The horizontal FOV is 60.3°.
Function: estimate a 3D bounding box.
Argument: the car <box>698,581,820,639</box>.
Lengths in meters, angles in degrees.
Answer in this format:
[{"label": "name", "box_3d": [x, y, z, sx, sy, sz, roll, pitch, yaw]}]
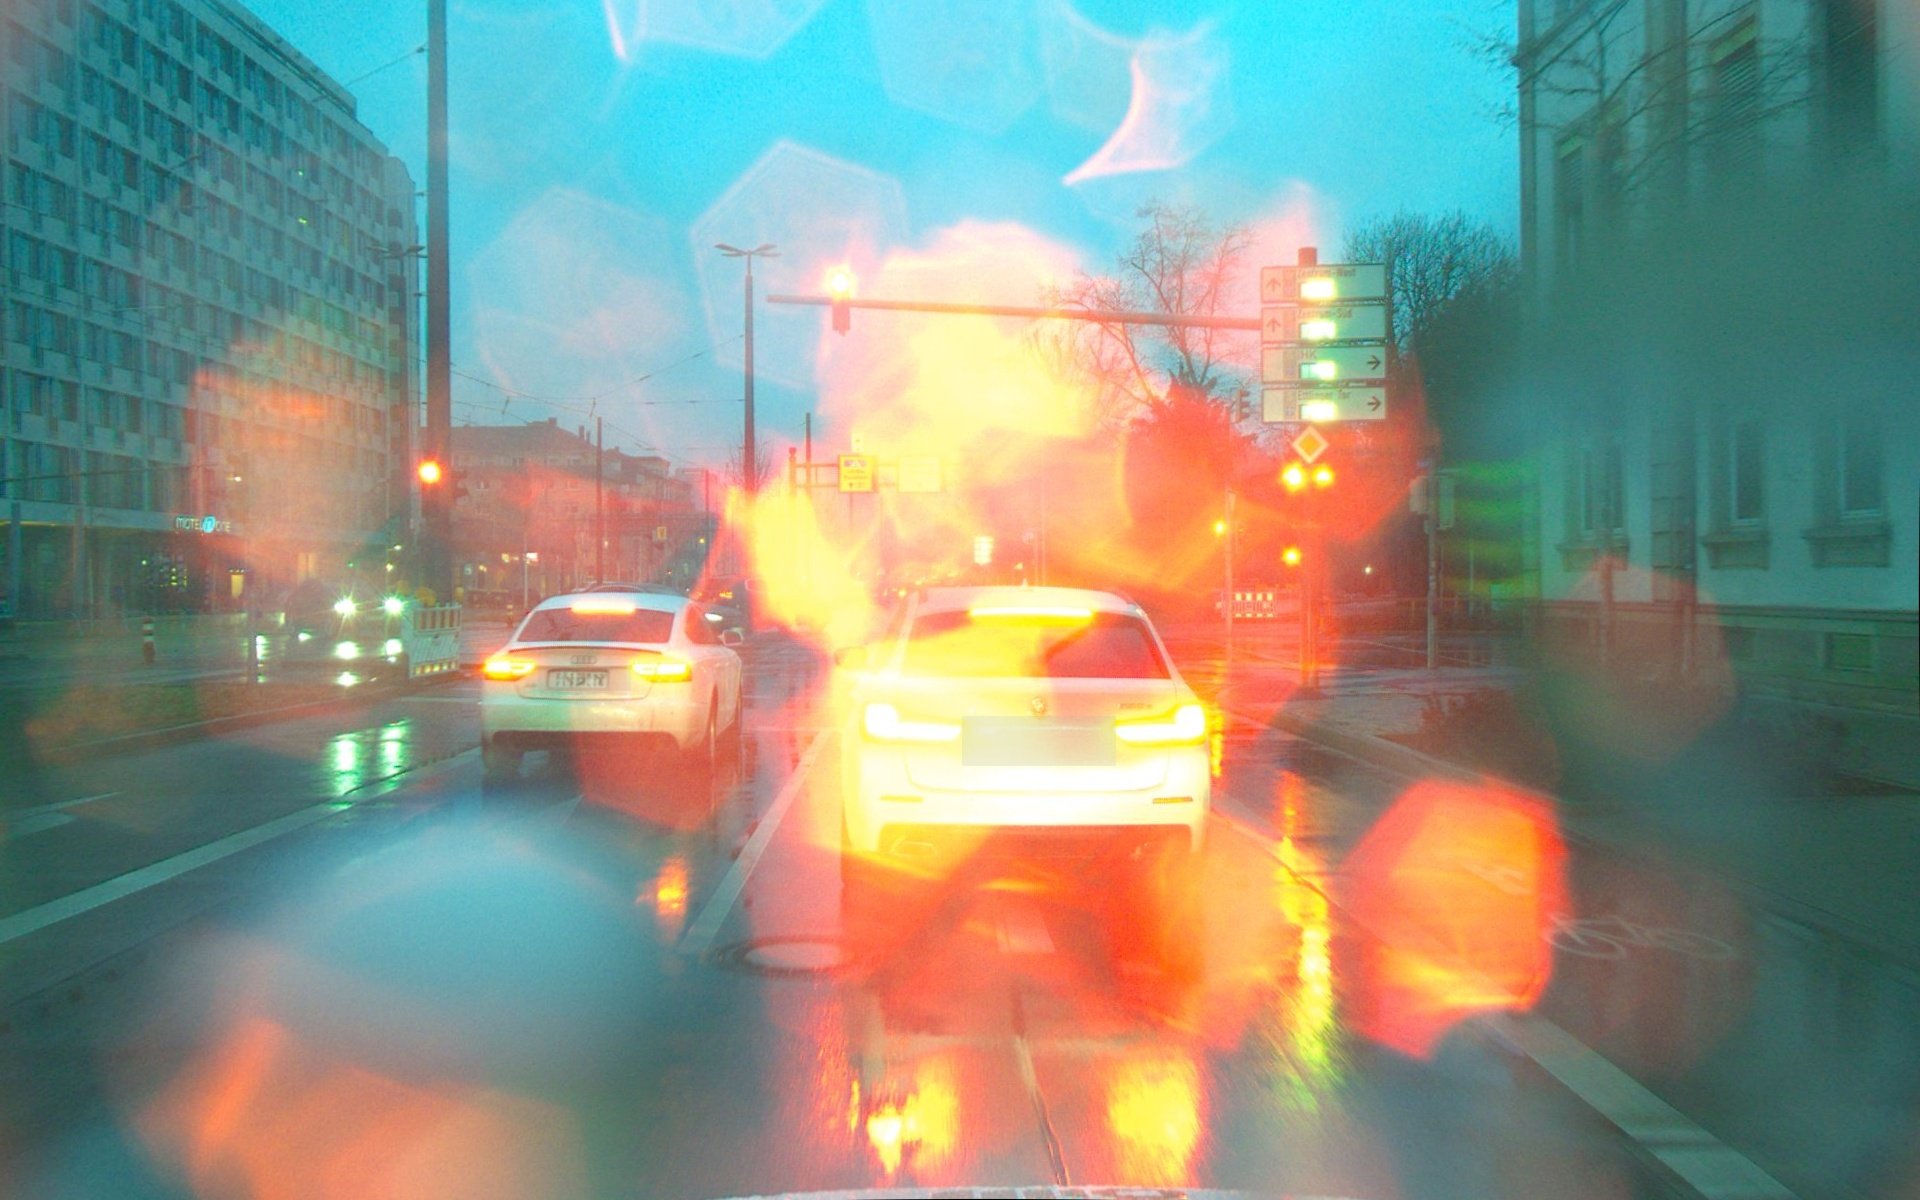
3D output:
[{"label": "car", "box_3d": [-5.975, 0.305, 49.658, 1.807, 1.637, 3.941, 1, 0, 26]}]

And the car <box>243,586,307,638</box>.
[{"label": "car", "box_3d": [-21.909, 0.367, 52.801, 1.734, 1.557, 4.293, 1, 0, -24]}]

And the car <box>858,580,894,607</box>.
[{"label": "car", "box_3d": [-4.761, -0.402, 93.715, 1.954, 1.481, 4.366, 0, 1, -3]}]

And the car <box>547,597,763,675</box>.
[{"label": "car", "box_3d": [-7.079, 0.818, 38.514, 4.596, 1.750, 1.870, 0, -1, 14]}]

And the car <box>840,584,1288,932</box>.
[{"label": "car", "box_3d": [0.344, 0.656, 9.351, 1.954, 1.481, 4.366, 0, 1, -3]}]

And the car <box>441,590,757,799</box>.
[{"label": "car", "box_3d": [-2.883, 0.671, 14.187, 1.954, 1.481, 4.366, 0, 1, -3]}]

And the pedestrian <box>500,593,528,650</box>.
[{"label": "pedestrian", "box_3d": [-13.827, 0.653, 51.261, 0.778, 1.741, 0.809, 1, -1, -16]}]

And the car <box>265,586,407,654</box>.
[{"label": "car", "box_3d": [-16.983, 0.541, 44.909, 1.887, 1.750, 4.633, 1, -1, -45]}]

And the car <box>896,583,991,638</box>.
[{"label": "car", "box_3d": [-0.570, 0.327, 52.667, 1.816, 1.637, 3.921, 1, 0, -20]}]
